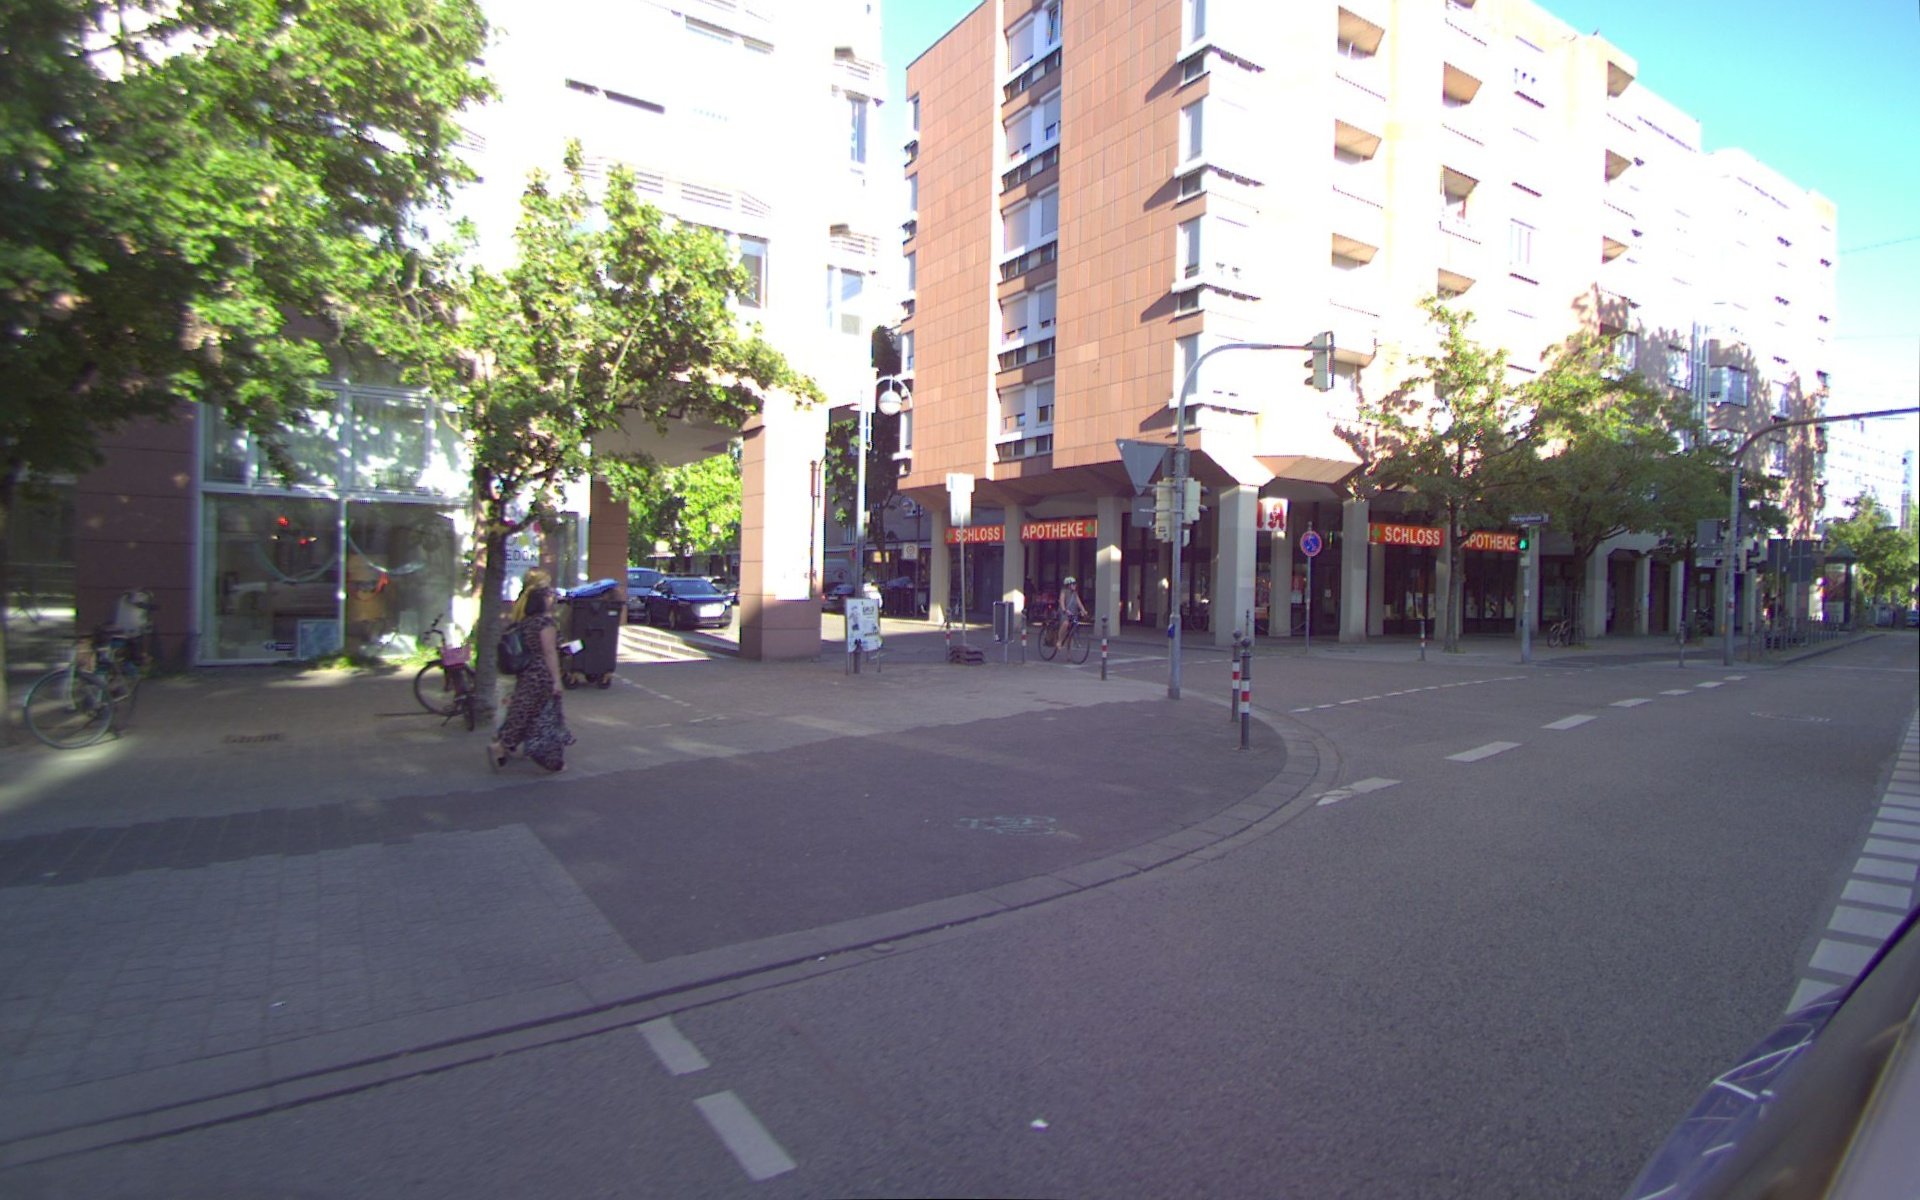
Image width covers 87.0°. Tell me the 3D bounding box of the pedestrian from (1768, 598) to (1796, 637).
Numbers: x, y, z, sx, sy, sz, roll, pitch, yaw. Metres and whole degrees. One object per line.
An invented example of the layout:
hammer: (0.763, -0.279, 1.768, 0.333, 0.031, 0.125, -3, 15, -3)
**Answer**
pedestrian: (38.294, 0.803, 47.149, 0.821, 1.760, 0.783, 1, 0, -35)

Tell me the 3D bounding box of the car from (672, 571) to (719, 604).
car: (-17.176, -0.810, 65.580, 1.960, 2.039, 4.003, 0, 0, -31)

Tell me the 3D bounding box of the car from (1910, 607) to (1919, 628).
car: (71.677, 1.330, 74.779, 4.174, 1.502, 1.705, 1, 2, -41)

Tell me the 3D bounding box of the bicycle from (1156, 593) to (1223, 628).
bicycle: (7.745, 0.325, 34.309, 0.582, 1.108, 2.451, 1, 1, -34)

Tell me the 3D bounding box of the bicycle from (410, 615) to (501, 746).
bicycle: (-5.427, 0.814, 10.855, 0.567, 1.242, 1.571, 1, 0, -37)

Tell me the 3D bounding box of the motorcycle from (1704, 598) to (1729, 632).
motorcycle: (32.016, 0.623, 42.835, 2.055, 1.390, 0.488, 1, 0, -44)

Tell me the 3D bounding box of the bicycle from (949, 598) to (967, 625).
bicycle: (-0.076, 0.445, 39.812, 0.600, 1.032, 1.319, 1, 1, -4)

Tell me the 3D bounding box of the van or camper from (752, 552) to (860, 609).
van or camper: (-8.037, -0.995, 53.552, 2.336, 2.801, 6.392, 1, 1, 27)

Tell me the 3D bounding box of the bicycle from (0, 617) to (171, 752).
bicycle: (-8.150, 0.730, 9.368, 0.724, 1.066, 1.756, 1, 0, -16)

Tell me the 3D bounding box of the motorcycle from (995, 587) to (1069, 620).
motorcycle: (2.780, 0.126, 39.663, 1.325, 1.193, 2.826, 1, 1, -39)

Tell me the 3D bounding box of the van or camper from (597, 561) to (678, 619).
van or camper: (-11.924, -0.383, 37.236, 1.766, 1.997, 4.580, 1, 1, -32)

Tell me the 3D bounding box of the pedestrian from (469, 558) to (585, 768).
pedestrian: (-3.833, 0.521, 8.953, 0.754, 1.755, 0.702, 1, 0, -40)

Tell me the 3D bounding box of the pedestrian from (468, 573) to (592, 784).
pedestrian: (-3.464, 0.589, 8.151, 0.735, 1.598, 0.645, 1, 0, -40)

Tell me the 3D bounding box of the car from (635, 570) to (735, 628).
car: (-8.835, -0.075, 32.306, 1.767, 1.743, 4.199, 1, 1, -35)

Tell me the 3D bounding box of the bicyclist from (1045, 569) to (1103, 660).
bicyclist: (2.294, 0.277, 20.424, 0.773, 1.792, 0.828, 1, 0, -35)

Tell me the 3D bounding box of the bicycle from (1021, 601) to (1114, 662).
bicycle: (2.161, 0.620, 20.606, 0.788, 1.127, 1.921, 1, 1, -35)

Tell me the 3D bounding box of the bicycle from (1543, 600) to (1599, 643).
bicycle: (18.312, 0.655, 30.307, 1.888, 1.241, 0.624, 1, 0, -31)

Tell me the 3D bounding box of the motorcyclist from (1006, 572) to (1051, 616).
motorcyclist: (2.697, -0.226, 39.798, 1.311, 1.710, 1.173, 0, 0, -40)

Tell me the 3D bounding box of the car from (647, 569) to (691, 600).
car: (-20.110, -1.056, 69.895, 1.960, 2.039, 4.003, 0, 0, -31)

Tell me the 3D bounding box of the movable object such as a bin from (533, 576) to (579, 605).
movable object such as a bin: (-21.660, -0.532, 54.262, 2.114, 1.518, 1.733, -1, 1, -28)

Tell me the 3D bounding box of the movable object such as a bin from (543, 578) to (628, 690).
movable object such as a bin: (-5.353, 0.451, 14.426, 0.854, 1.500, 1.415, 1, 0, -32)
